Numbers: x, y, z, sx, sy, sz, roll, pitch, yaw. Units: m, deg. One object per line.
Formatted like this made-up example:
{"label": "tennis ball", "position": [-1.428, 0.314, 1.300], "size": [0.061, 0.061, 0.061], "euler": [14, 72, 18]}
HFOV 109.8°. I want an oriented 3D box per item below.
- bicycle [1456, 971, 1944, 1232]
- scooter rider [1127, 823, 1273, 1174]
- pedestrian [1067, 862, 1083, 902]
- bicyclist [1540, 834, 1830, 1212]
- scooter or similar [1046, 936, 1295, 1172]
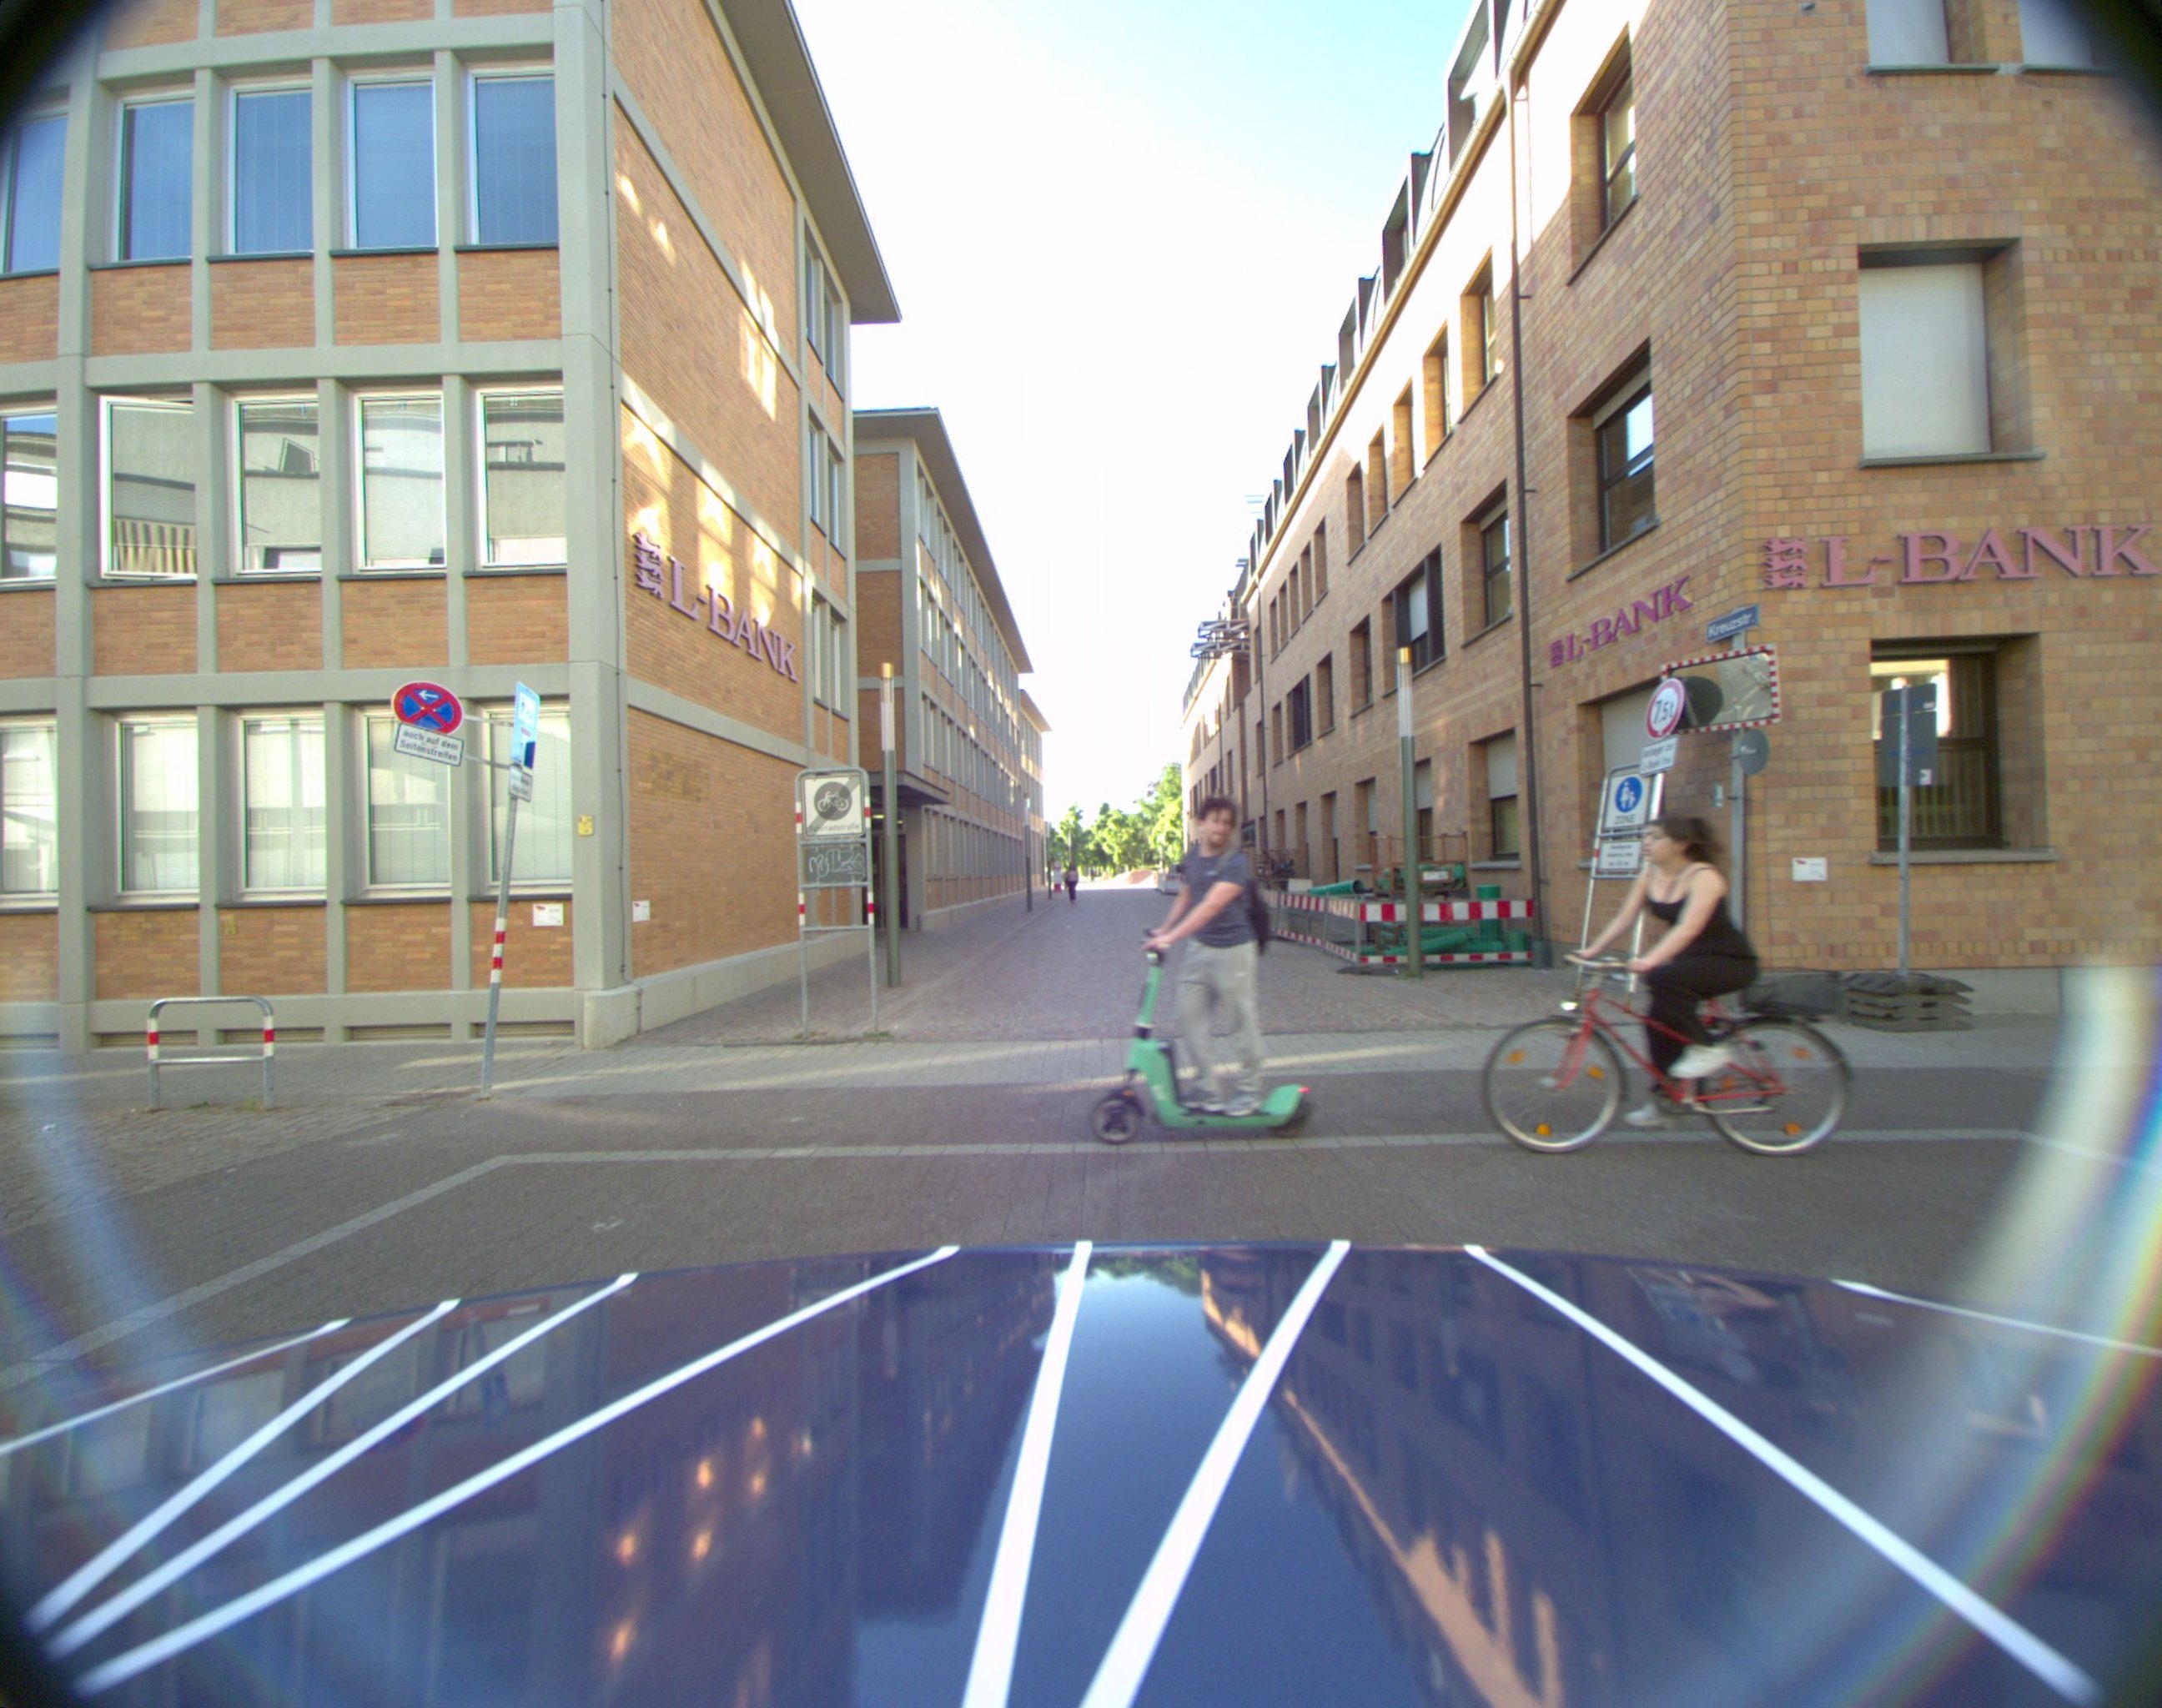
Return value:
{"label": "bicycle", "position": [2.877, 1.143, 3.661], "size": [1.799, 1.045, 0.591], "euler": [-2, -2, 1]}
{"label": "scooter rider", "position": [0.641, 0.712, 4.093], "size": [0.701, 1.716, 0.649], "euler": [0, 0, 10]}
{"label": "pedestrian", "position": [-0.273, 1.249, 33.827], "size": [0.638, 1.774, 0.652], "euler": [-1, -3, 2]}
{"label": "bicyclist", "position": [2.870, 0.764, 3.697], "size": [0.823, 1.656, 0.620], "euler": [-2, -3, 2]}
{"label": "scooter or similar", "position": [0.478, 1.047, 4.151], "size": [1.277, 1.178, 0.337], "euler": [-1, -3, 10]}
